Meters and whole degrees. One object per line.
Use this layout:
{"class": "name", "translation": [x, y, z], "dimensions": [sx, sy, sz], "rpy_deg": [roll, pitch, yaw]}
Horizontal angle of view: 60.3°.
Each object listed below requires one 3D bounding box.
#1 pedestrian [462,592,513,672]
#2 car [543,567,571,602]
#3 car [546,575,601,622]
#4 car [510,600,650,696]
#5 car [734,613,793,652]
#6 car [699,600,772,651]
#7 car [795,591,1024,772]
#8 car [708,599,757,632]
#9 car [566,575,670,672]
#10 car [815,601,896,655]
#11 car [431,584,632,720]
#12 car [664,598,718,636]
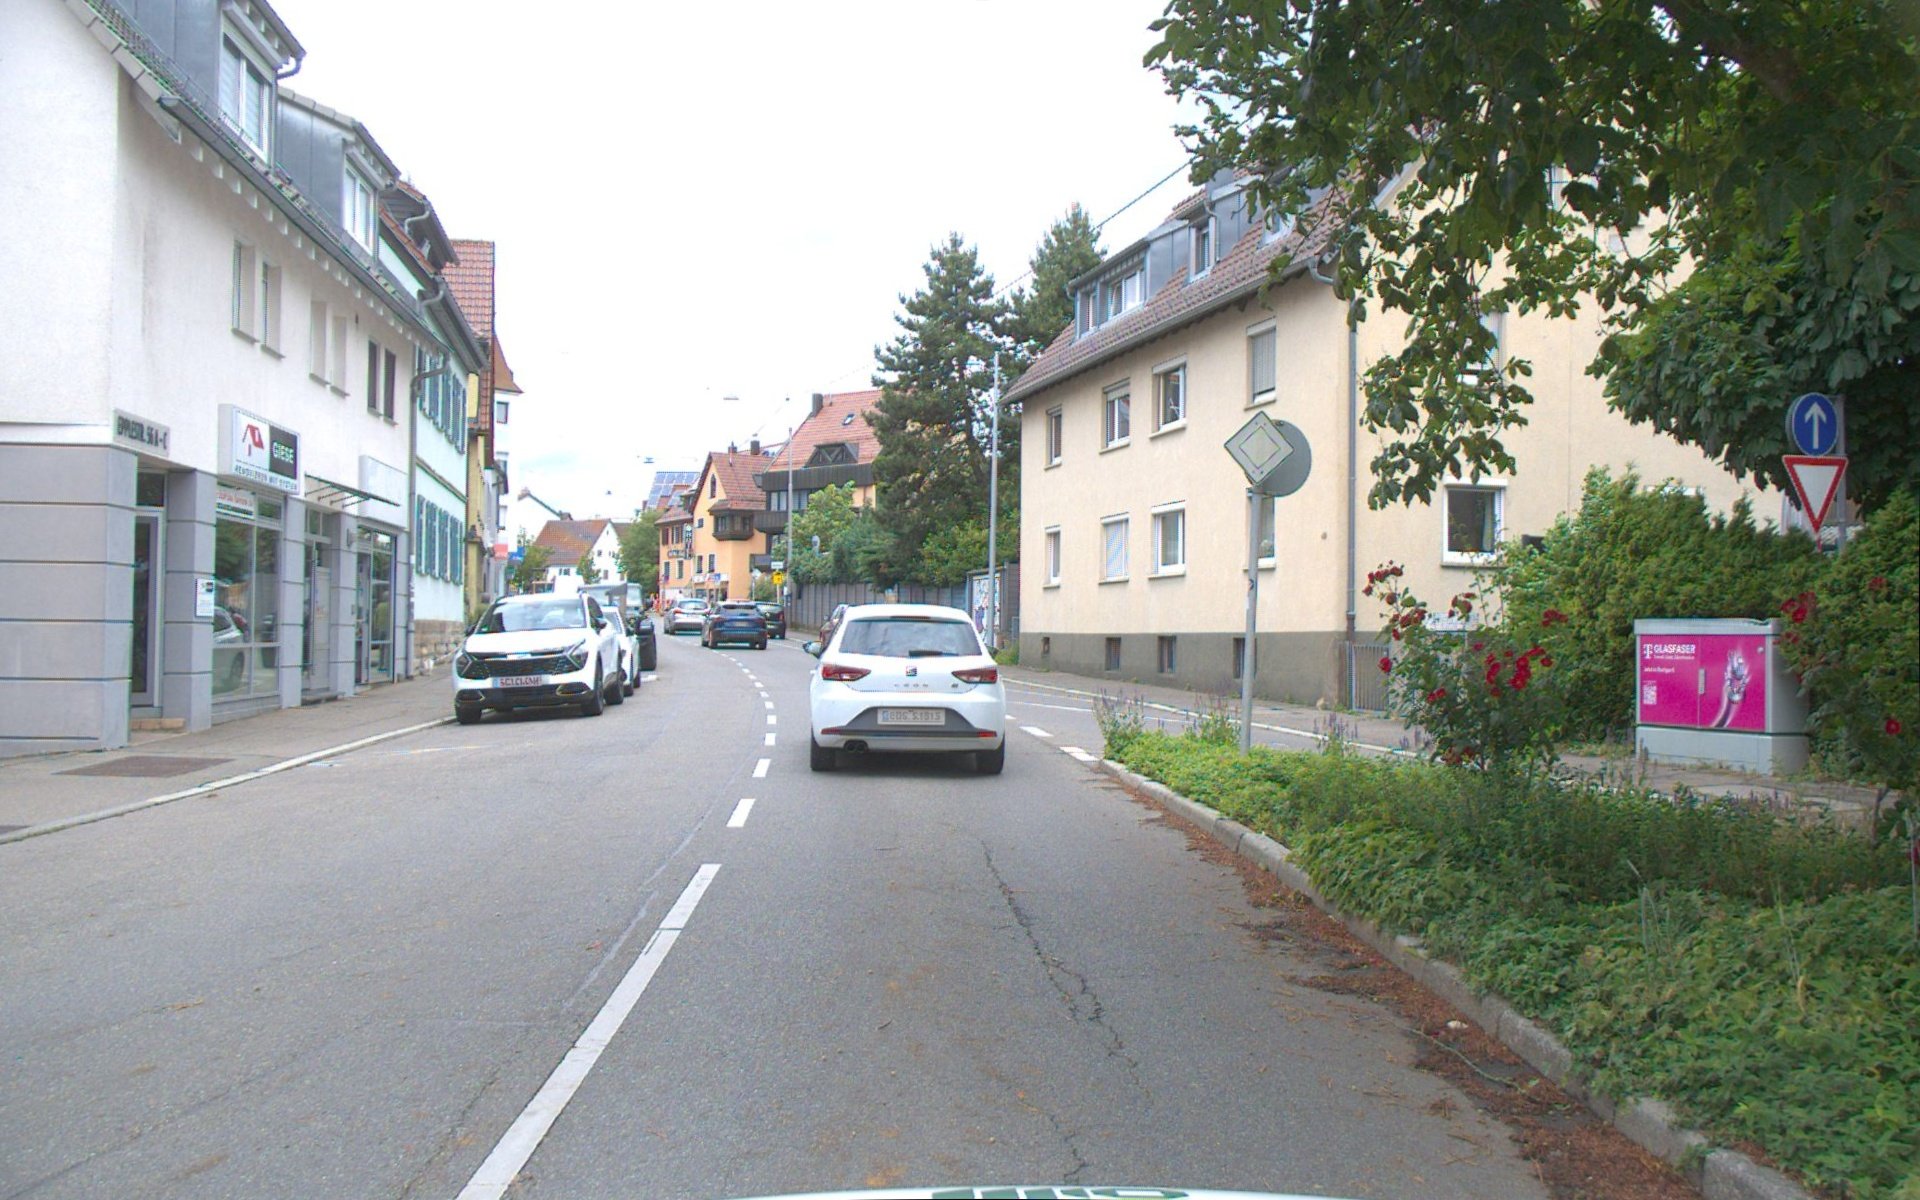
{"class": "pedestrian", "translation": [-9.385, 0.633, 32.850], "dimensions": [0.791, 1.526, 0.973], "rpy_deg": [2, -1, -9]}
{"class": "car", "translation": [-33.328, -1.302, 136.889], "dimensions": [2.116, 2.734, 5.375], "rpy_deg": [2, 0, -14]}
{"class": "car", "translation": [-23.635, -0.080, 101.269], "dimensions": [2.109, 2.734, 5.542], "rpy_deg": [2, 0, -2]}
{"class": "car", "translation": [-6.354, 0.756, 28.066], "dimensions": [1.960, 1.461, 3.911], "rpy_deg": [1, 0, -8]}
{"class": "car", "translation": [-8.093, 1.317, 67.890], "dimensions": [1.731, 1.477, 3.981], "rpy_deg": [1, 0, -17]}
{"class": "car", "translation": [-7.005, 0.765, 51.270], "dimensions": [1.729, 1.477, 3.984], "rpy_deg": [1, 0, -15]}
{"class": "car", "translation": [-0.607, 0.685, 15.628], "dimensions": [1.725, 1.477, 3.993], "rpy_deg": [1, 0, -8]}
{"class": "car", "translation": [-10.884, 0.728, 78.987], "dimensions": [1.731, 1.477, 3.981], "rpy_deg": [1, 0, -17]}
{"class": "car", "translation": [-7.791, 0.487, 38.060], "dimensions": [1.956, 2.049, 4.663], "rpy_deg": [-2, 1, -7]}
{"class": "car", "translation": [-3.148, 0.806, 49.073], "dimensions": [1.728, 1.477, 3.986], "rpy_deg": [3, -1, -13]}
{"class": "car", "translation": [-5.807, 0.645, 23.009], "dimensions": [1.959, 1.661, 4.851], "rpy_deg": [1, 0, -6]}
{"class": "car", "translation": [-11.009, 0.669, 67.557], "dimensions": [1.730, 1.477, 3.982], "rpy_deg": [1, 0, -16]}
